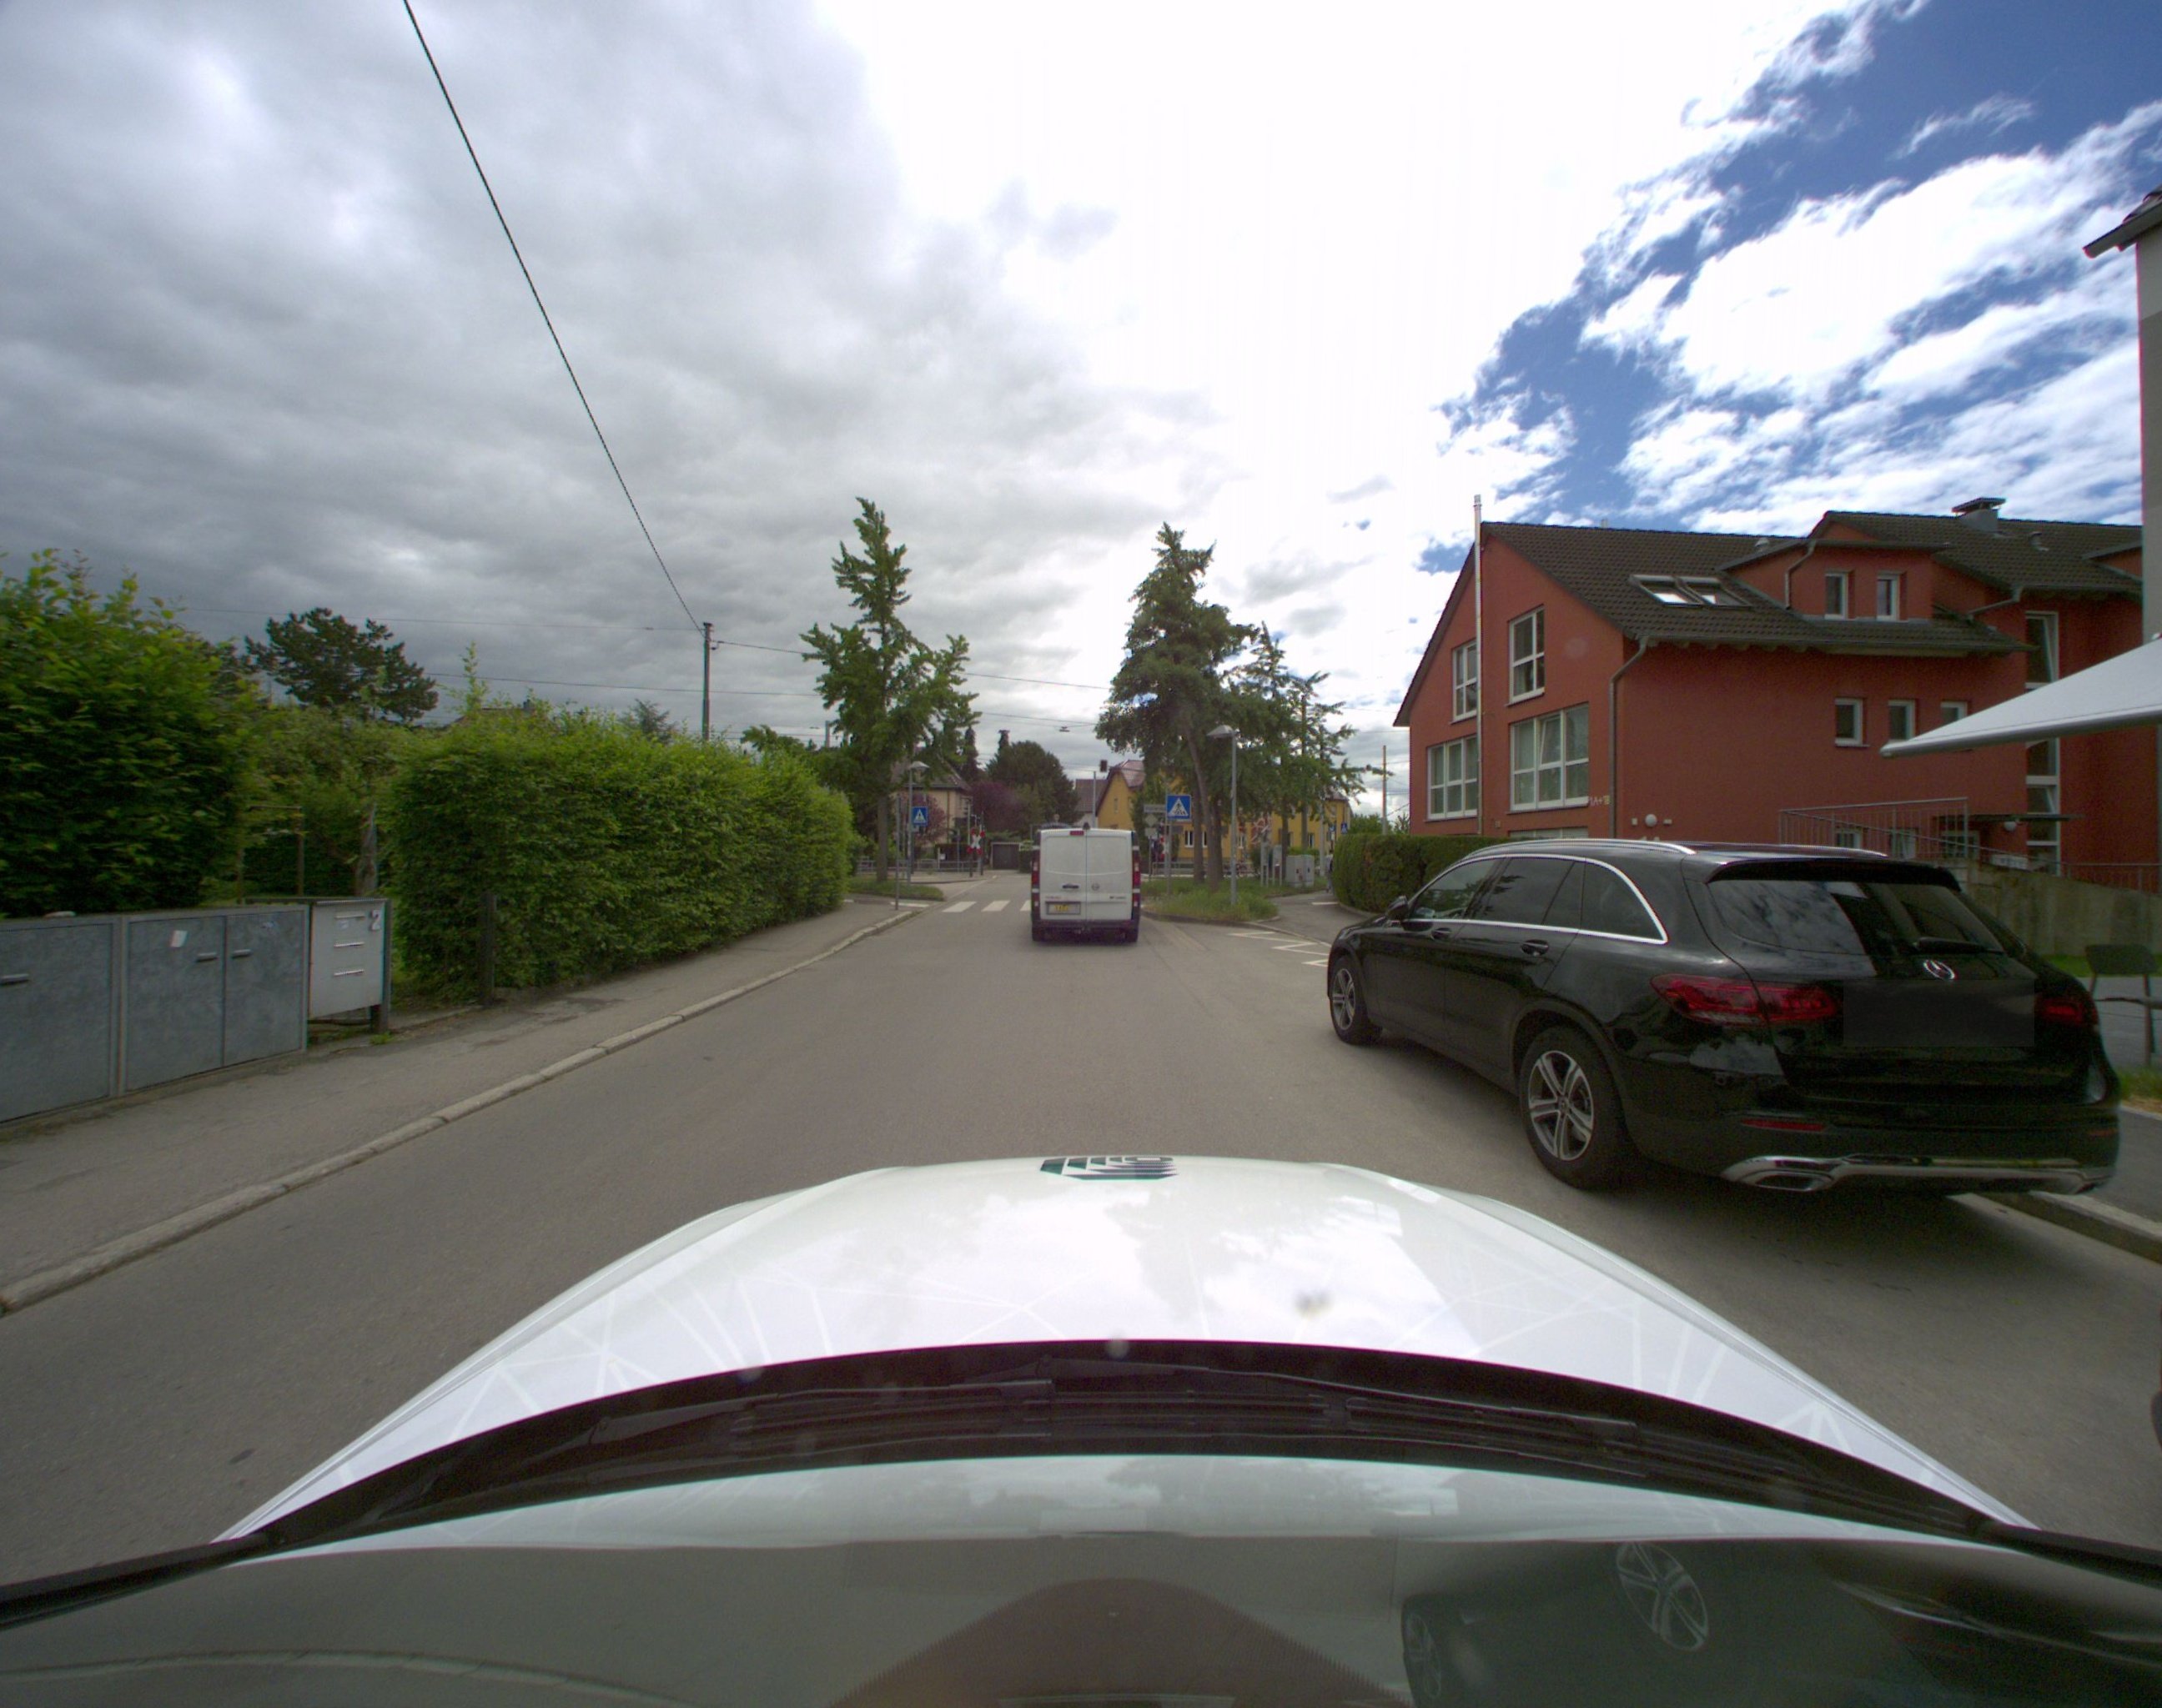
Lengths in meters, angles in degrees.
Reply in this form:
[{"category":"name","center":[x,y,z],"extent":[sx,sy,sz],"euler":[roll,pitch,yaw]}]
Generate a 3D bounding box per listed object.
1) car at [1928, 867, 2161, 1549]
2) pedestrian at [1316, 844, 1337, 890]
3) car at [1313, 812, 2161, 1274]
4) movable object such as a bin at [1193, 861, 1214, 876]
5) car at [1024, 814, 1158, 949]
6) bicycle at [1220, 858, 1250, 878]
[{"category":"car","center":[3.211,0.783,0.337],"extent":[1.702,1.452,3.833],"euler":[1,0,-1]},{"category":"pedestrian","center":[10.386,0.532,34.420],"extent":[0.617,1.915,0.836],"euler":[-1,0,35]},{"category":"car","center":[3.114,0.689,5.167],"extent":[1.842,1.636,4.462],"euler":[1,0,-2]},{"category":"movable object such as a bin","center":[6.982,0.816,46.530],"extent":[1.089,0.824,0.578],"euler":[1,-1,-6]},{"category":"car","center":[0.054,0.438,15.795],"extent":[2.112,2.134,5.436],"euler":[1,0,-2]},{"category":"bicycle","center":[8.824,0.802,46.658],"extent":[1.686,1.155,0.465],"euler":[0,-1,-9]}]
